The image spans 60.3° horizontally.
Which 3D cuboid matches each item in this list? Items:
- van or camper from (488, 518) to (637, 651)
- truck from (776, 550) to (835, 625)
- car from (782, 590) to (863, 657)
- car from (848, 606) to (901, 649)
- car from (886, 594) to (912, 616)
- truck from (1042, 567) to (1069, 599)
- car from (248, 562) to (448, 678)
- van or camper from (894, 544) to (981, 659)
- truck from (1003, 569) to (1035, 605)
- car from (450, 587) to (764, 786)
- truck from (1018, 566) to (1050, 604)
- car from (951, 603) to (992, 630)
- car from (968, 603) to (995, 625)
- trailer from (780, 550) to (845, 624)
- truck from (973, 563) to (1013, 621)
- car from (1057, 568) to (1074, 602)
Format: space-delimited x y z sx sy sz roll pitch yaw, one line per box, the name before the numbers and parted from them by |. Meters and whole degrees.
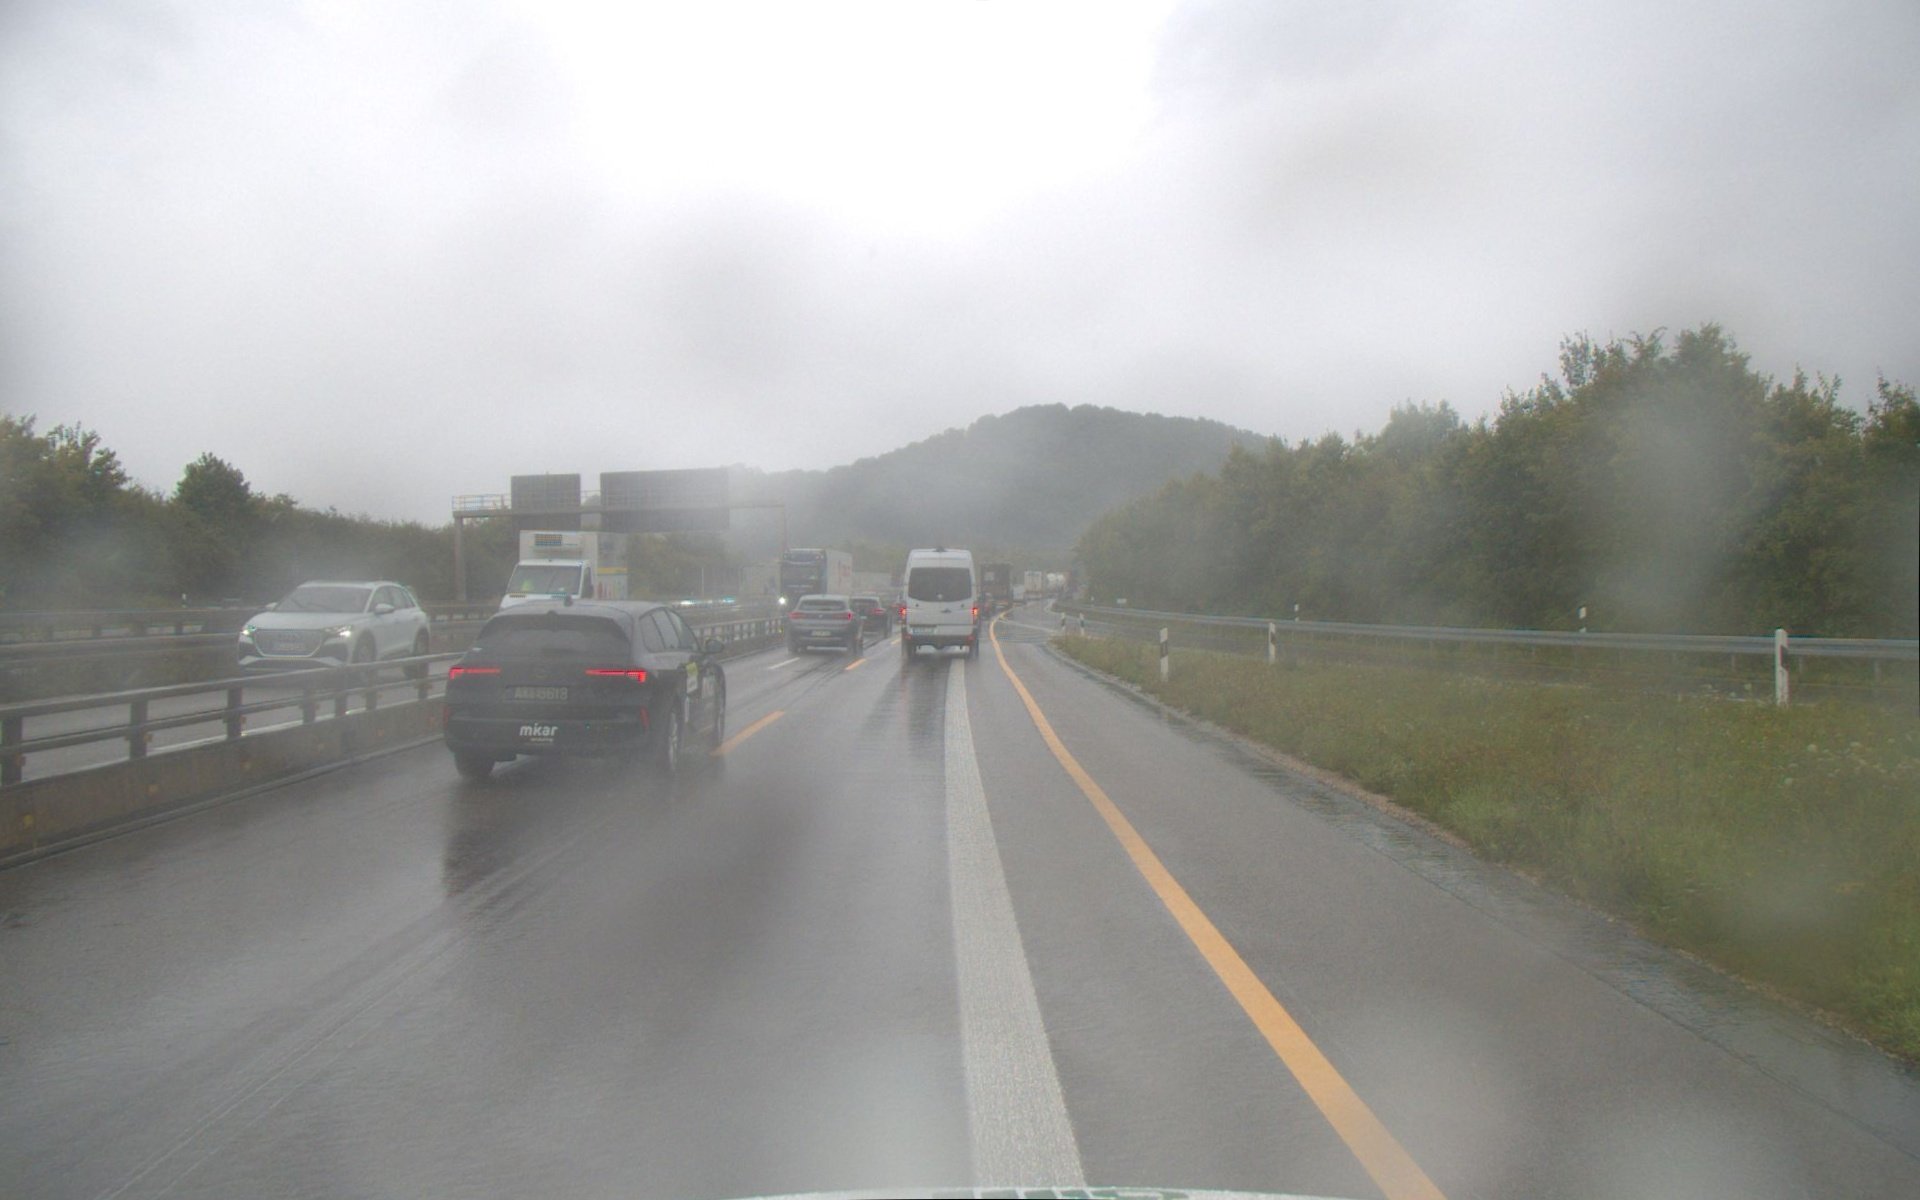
van or camper | -10.079 -0.341 42.577 2.247 3.094 6.697 1 0 -1
truck | -9.109 -0.691 97.884 2.829 4.306 6.326 0 -1 1
car | -3.608 0.597 44.109 1.829 1.688 3.987 0 0 0
car | -3.149 0.992 61.598 1.814 1.527 3.999 0 0 -1
car | -3.104 0.264 84.565 1.237 1.097 3.254 0 0 0
truck | 15.334 -2.643 264.393 3.845 4.868 9.912 1 -1 5
car | -9.886 0.315 27.101 1.603 1.697 4.542 1 0 -1
van or camper | -0.556 0.040 42.383 2.095 2.769 4.647 0 0 0
truck | 6.563 -1.381 185.808 3.252 3.827 9.906 1 0 0
car | -2.905 0.656 14.691 1.900 1.452 4.758 1 0 -2
truck | 10.150 -1.929 224.457 3.845 4.868 9.912 1 -1 5
car | 0.458 0.664 68.395 1.358 1.097 3.118 0 0 -6
car | 1.298 0.838 100.239 1.357 1.278 3.120 0 0 -4
trailer | -9.117 -0.688 103.644 2.833 4.361 12.894 0 -1 0
truck | 2.885 -0.642 146.573 3.252 4.868 9.906 1 -1 0
car | 13.296 -1.879 208.227 2.015 4.265 6.748 0 0 3
